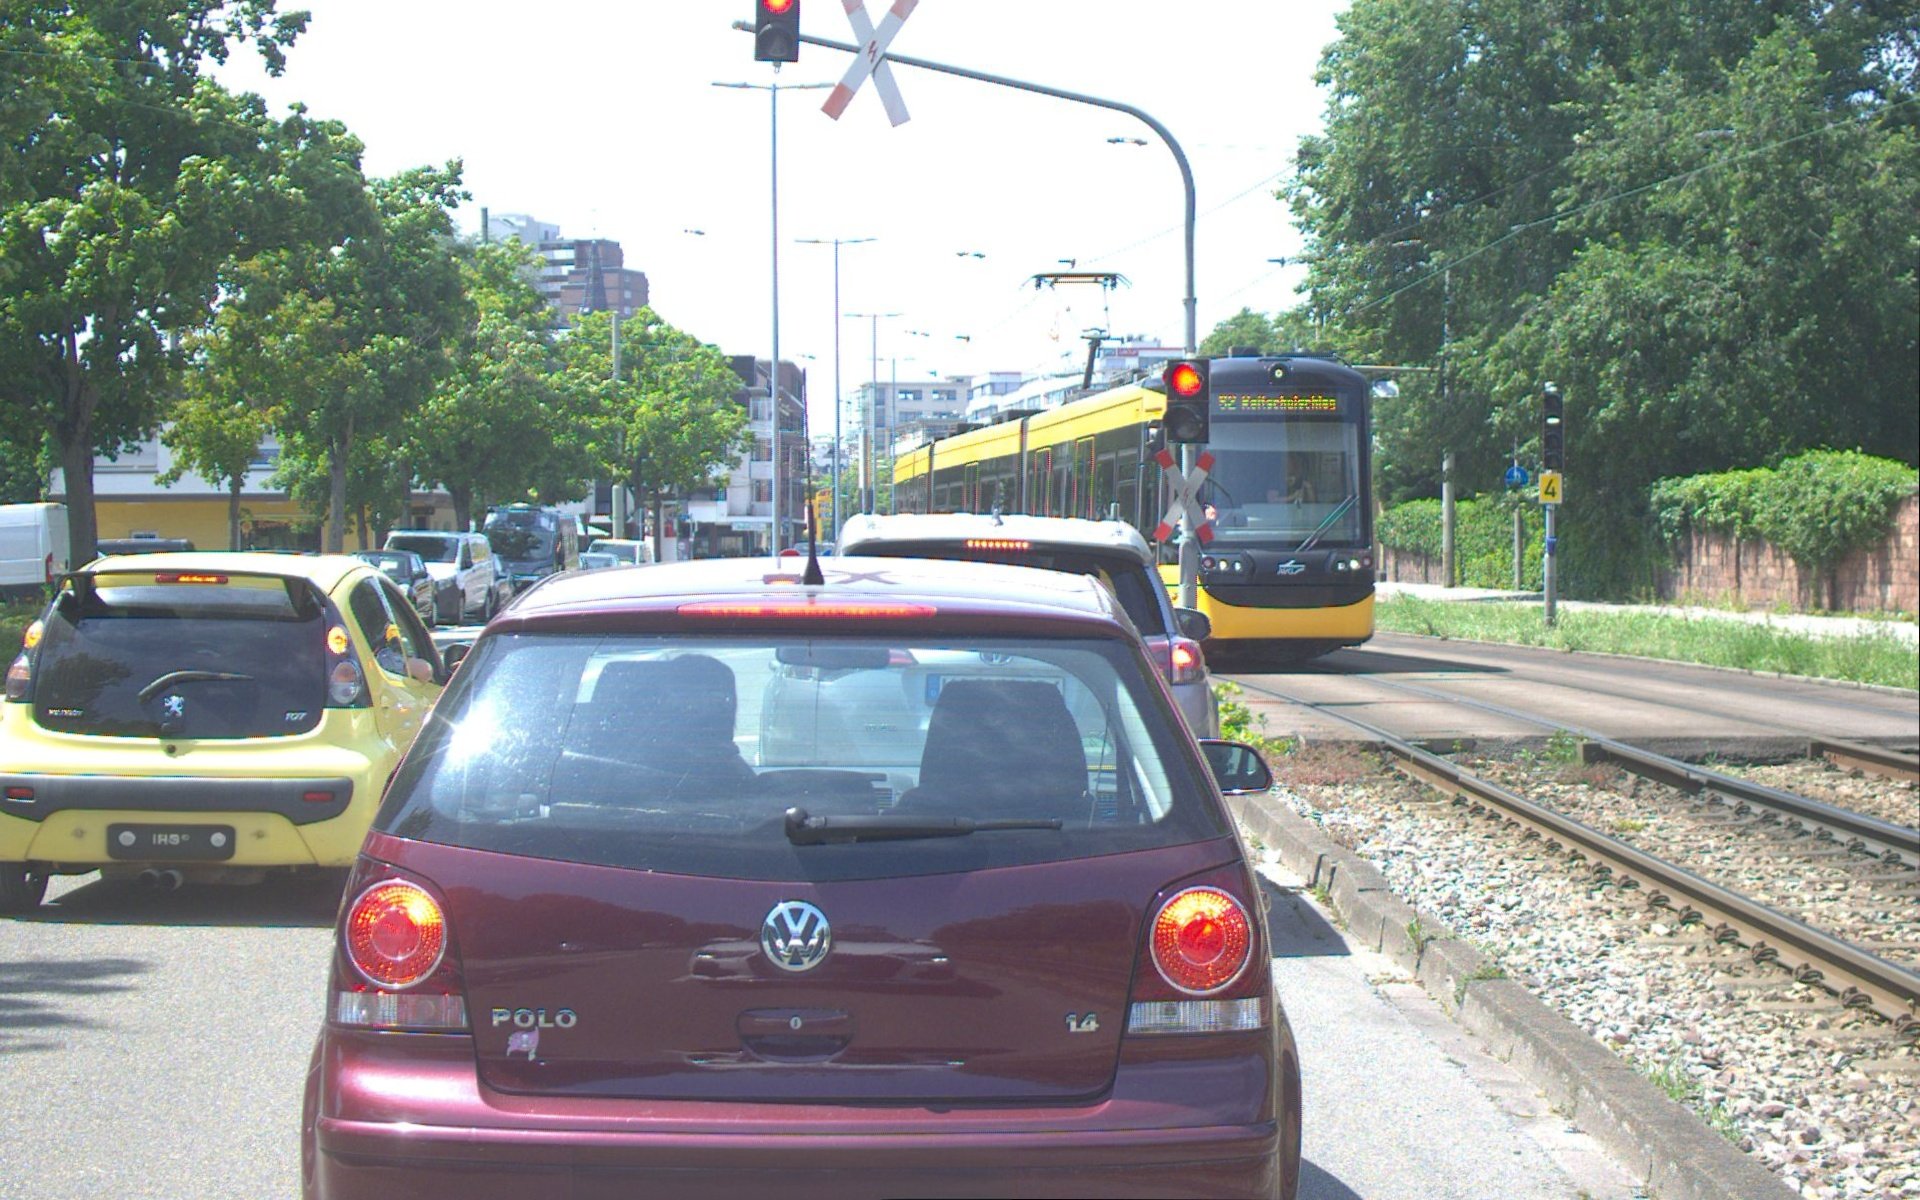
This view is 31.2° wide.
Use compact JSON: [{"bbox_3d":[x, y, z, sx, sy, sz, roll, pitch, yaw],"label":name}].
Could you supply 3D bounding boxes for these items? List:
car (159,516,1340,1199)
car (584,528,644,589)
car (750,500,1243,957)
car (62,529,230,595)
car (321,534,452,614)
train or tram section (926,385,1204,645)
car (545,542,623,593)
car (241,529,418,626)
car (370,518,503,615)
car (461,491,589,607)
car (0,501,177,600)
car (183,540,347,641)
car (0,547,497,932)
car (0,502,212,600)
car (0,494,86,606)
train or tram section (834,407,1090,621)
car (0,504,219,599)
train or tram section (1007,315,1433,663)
[{"bbox_3d":[-0.352,0.616,6.942,1.672,1.516,4.000,1,1,-1],"label":"car"},{"bbox_3d":[-10.822,-1.294,107.512,1.774,1.822,4.001,2,0,-6],"label":"car"},{"bbox_3d":[0.086,0.434,14.647,1.777,1.641,4.000,1,1,-1],"label":"car"},{"bbox_3d":[-21.700,-1.016,91.740,4.020,1.611,1.816,2,0,1],"label":"car"},{"bbox_3d":[-10.975,-0.498,66.000,1.614,1.436,4.000,2,0,3],"label":"car"},{"bbox_3d":[1.444,-1.336,54.200,2.740,3.597,10.953,2,1,-6],"label":"train or tram section"},{"bbox_3d":[-11.070,-0.956,101.442,1.614,1.436,4.000,2,0,3],"label":"car"},{"bbox_3d":[-11.123,-0.397,60.951,1.976,1.595,4.557,2,0,4],"label":"car"},{"bbox_3d":[-10.796,-0.681,71.189,1.783,1.875,4.785,2,0,2],"label":"car"},{"bbox_3d":[-10.608,-1.233,84.227,2.361,2.683,5.307,2,0,0],"label":"car"},{"bbox_3d":[-21.604,-1.194,82.263,5.097,2.237,2.378,2,0,1],"label":"car"},{"bbox_3d":[-10.945,-0.150,54.404,1.663,1.491,4.000,2,0,1],"label":"car"},{"bbox_3d":[-3.050,0.506,14.818,1.690,1.406,3.516,1,1,-1],"label":"car"},{"bbox_3d":[-21.289,-1.198,84.734,5.097,2.237,2.378,2,0,1],"label":"car"},{"bbox_3d":[-20.928,-1.076,70.948,5.097,2.237,2.378,2,0,1],"label":"car"},{"bbox_3d":[-0.147,-1.624,64.669,2.740,3.597,10.953,2,1,-11],"label":"train or tram section"},{"bbox_3d":[-21.671,-1.224,87.377,5.097,2.237,2.378,2,0,1],"label":"car"},{"bbox_3d":[2.849,-1.324,42.756,2.740,3.597,12.873,2,1,-7],"label":"train or tram section"}]
